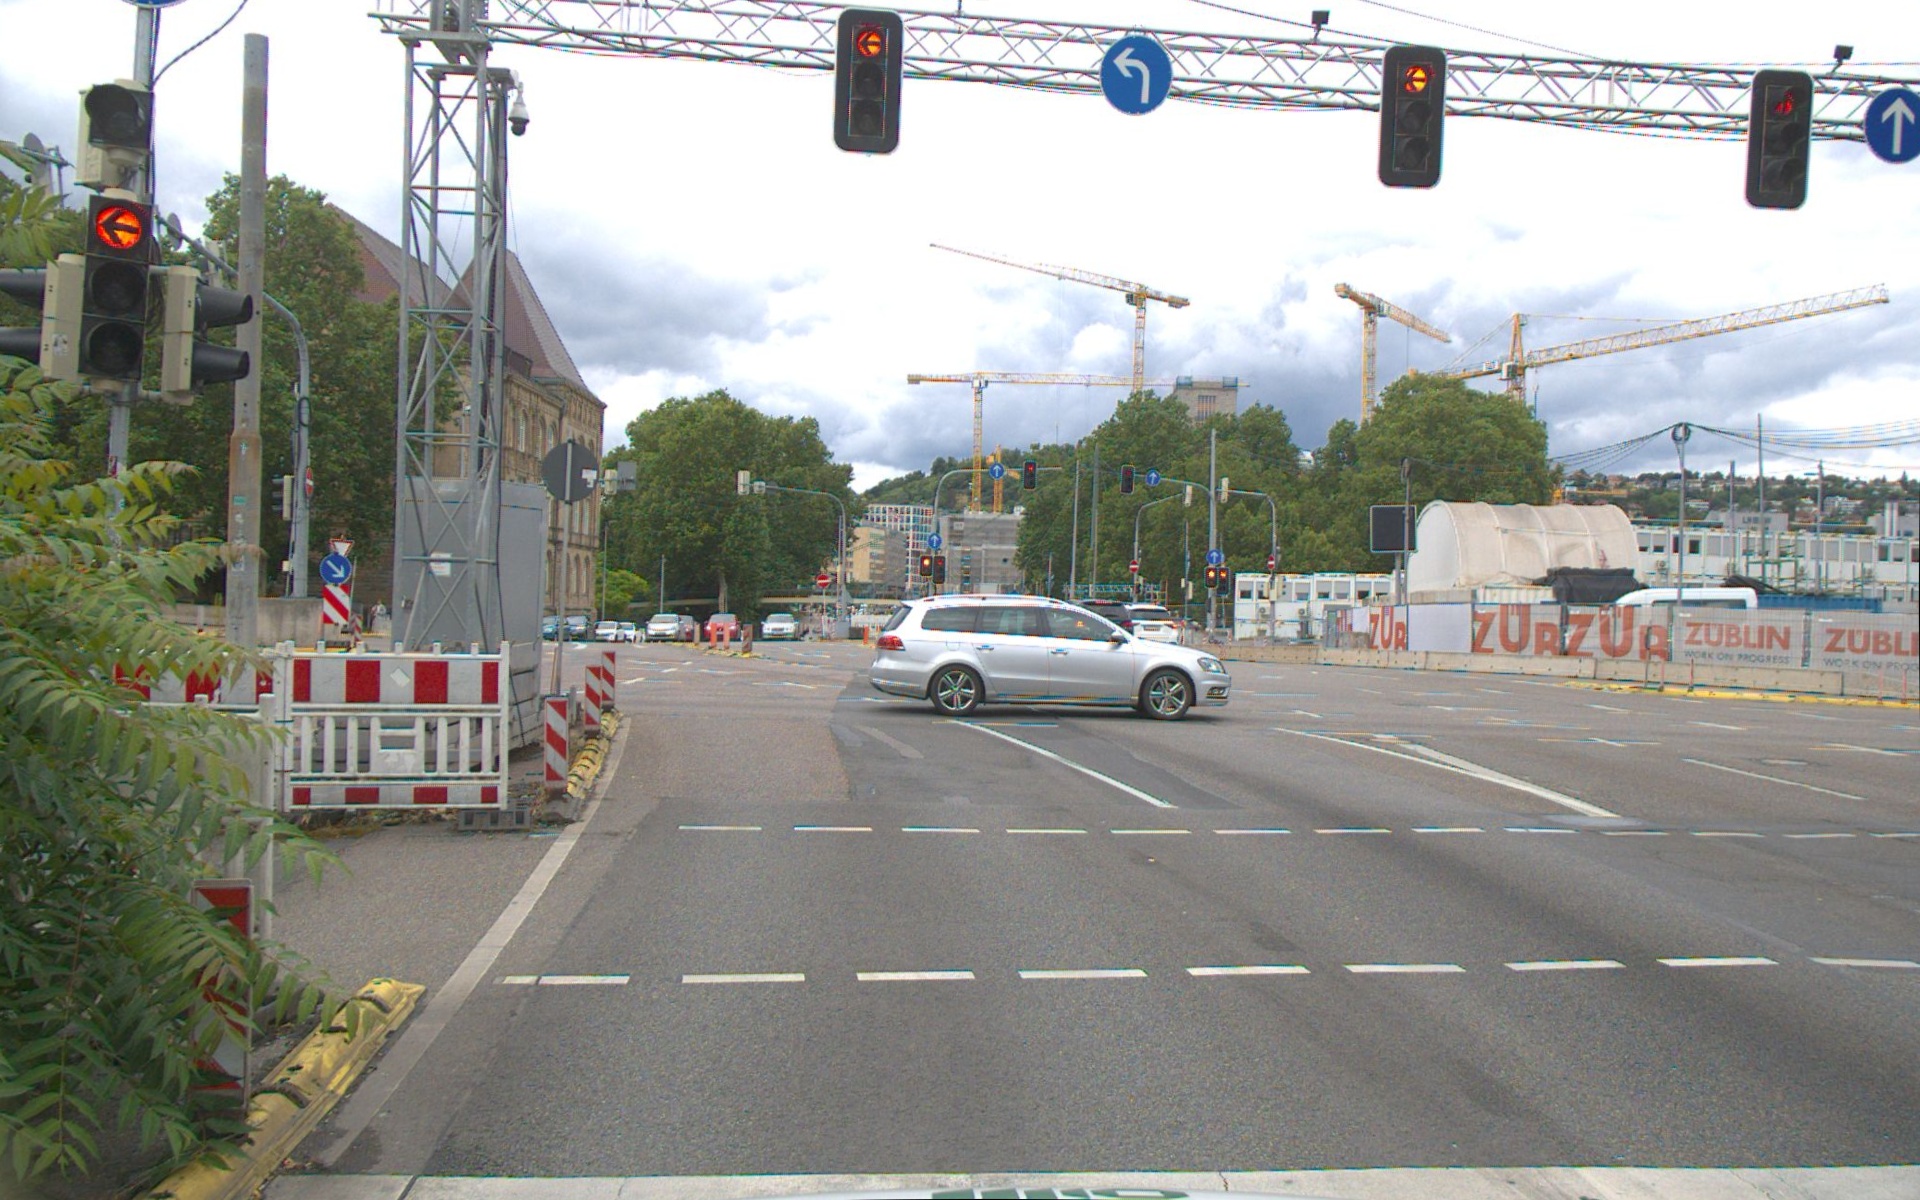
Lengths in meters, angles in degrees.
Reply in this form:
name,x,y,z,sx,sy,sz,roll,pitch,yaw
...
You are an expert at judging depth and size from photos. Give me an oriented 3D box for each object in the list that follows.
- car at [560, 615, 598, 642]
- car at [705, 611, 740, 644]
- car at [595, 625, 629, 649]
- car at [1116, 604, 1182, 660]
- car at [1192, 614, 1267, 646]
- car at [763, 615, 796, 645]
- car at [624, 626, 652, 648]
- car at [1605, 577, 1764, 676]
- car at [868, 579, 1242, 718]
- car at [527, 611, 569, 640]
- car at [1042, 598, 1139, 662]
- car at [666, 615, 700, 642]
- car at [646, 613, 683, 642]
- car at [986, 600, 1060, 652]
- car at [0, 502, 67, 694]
name,x,y,z,sx,sy,sz,roll,pitch,yaw
car,-21.281,1.582,92.576,1.644,1.422,3.677,1,0,-7
car,-12.121,1.381,84.519,1.644,1.608,3.677,1,0,-7
car,-21.252,2.244,101.054,1.644,1.422,3.677,1,0,-7
car,6.042,0.997,53.128,1.642,1.732,3.374,1,0,-1
car,14.462,1.585,88.811,3.902,1.579,1.783,1,0,10
car,-9.290,1.524,84.873,1.644,1.422,3.677,1,0,-7
car,-22.455,2.592,115.328,1.644,1.422,3.677,1,0,-7
car,20.824,0.747,47.681,3.902,2.708,1.683,1,0,13
car,1.152,0.613,21.304,4.617,1.653,1.680,1,0,-5
car,-21.493,1.318,86.300,1.644,1.422,3.677,1,0,-7
car,3.779,0.840,48.530,1.799,1.776,4.245,1,0,-10
car,-15.292,1.551,91.539,1.644,1.422,3.677,1,0,-7
car,-15.253,1.422,85.380,1.644,1.422,3.677,1,0,-7
car,2.082,0.851,55.550,1.783,1.653,3.993,1,0,-8
car,-14.616,-0.072,20.581,5.647,2.345,2.301,1,0,-6
